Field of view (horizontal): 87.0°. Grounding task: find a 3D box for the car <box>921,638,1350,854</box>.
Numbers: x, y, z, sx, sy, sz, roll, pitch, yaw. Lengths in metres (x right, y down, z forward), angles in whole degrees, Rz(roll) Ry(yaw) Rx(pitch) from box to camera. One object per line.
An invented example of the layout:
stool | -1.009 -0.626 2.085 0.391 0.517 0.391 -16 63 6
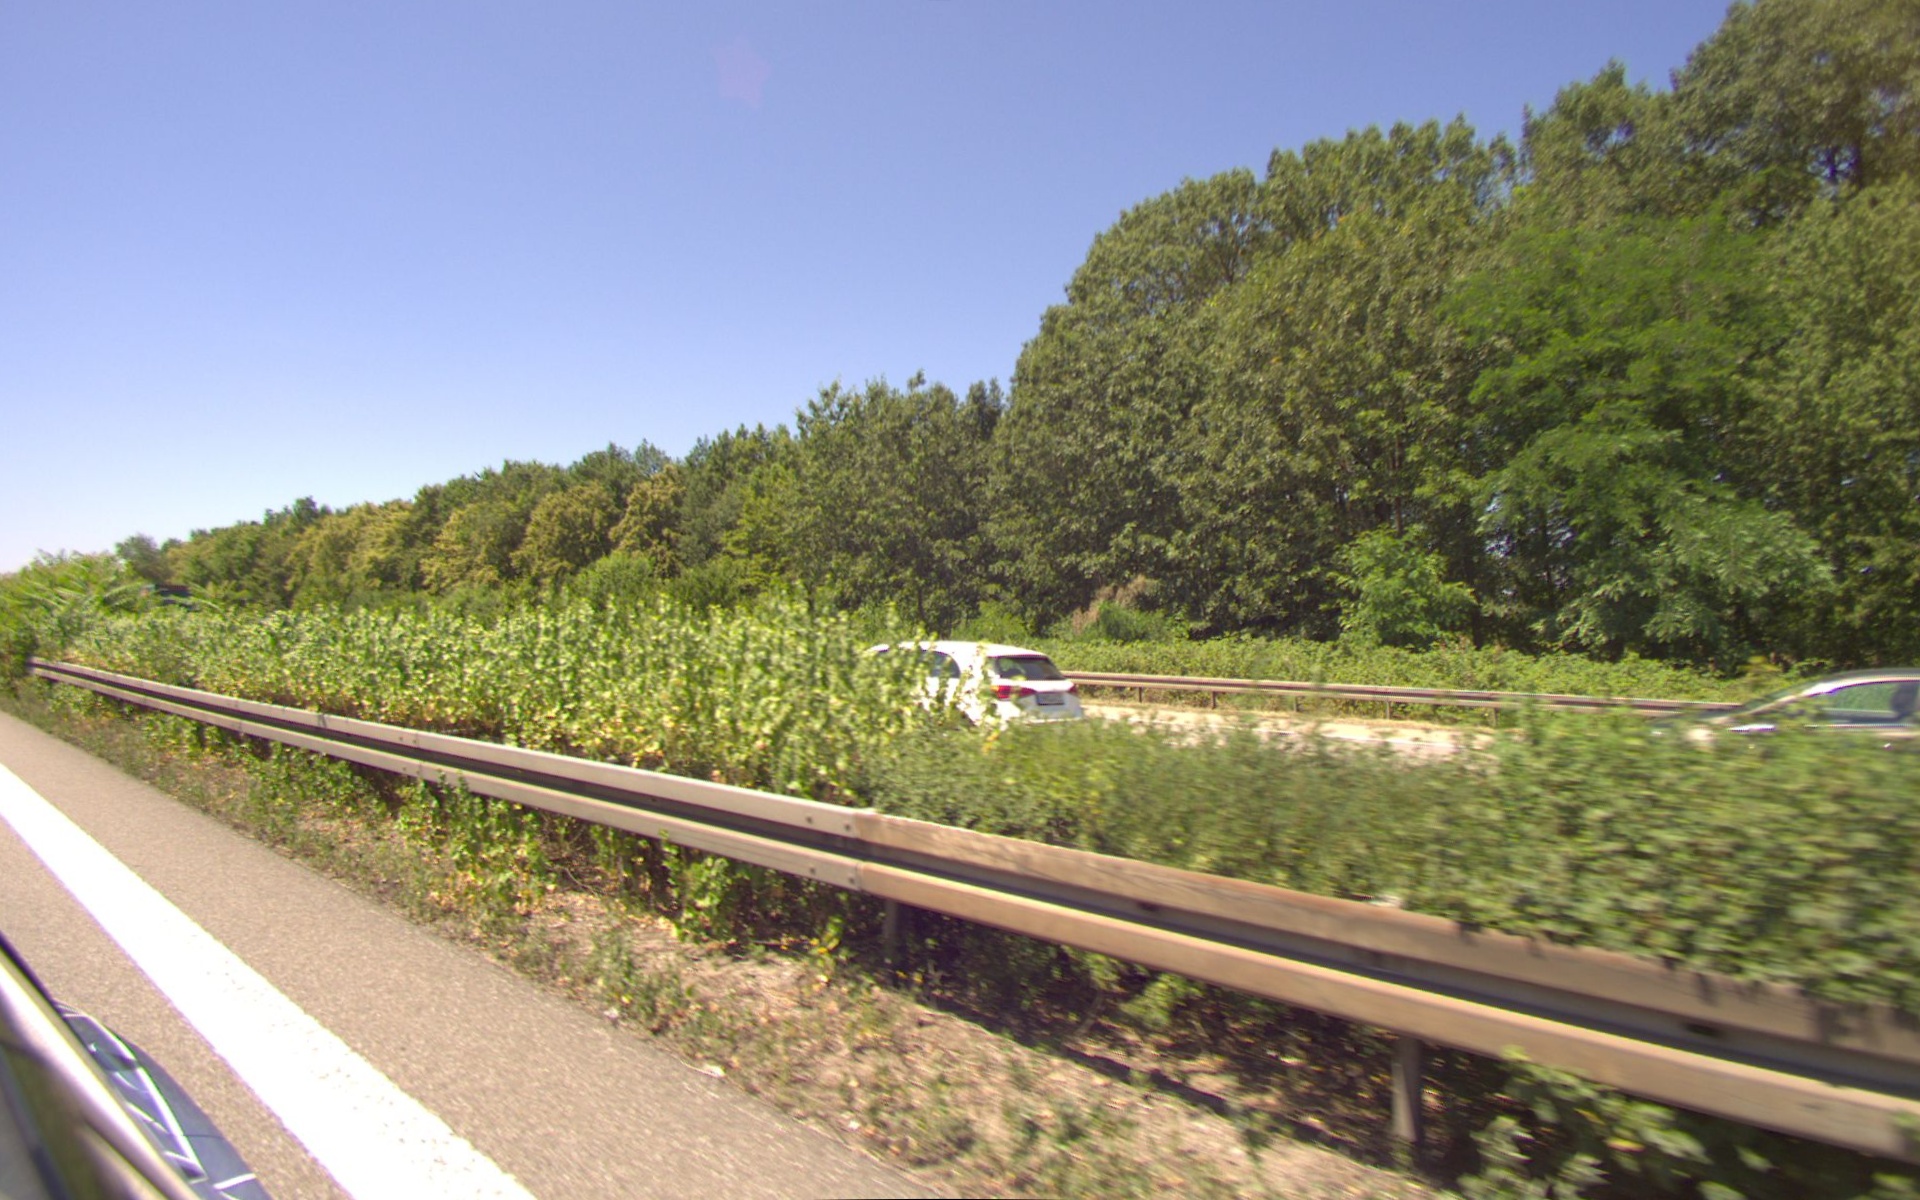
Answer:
car | 1.661 1.280 10.354 3.997 1.705 1.776 -1 -2 41

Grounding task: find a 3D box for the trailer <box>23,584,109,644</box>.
trailer | -64.770 1.040 73.174 13.510 4.040 2.840 -1 -2 41

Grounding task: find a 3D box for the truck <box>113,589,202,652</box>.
truck | -55.995 1.418 70.505 9.994 4.145 2.982 -1 -2 41

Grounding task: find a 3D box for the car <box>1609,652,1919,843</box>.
car | 8.417 1.263 8.950 4.304 1.466 1.776 -1 -2 41

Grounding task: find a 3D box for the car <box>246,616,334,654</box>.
car | -25.334 1.289 38.241 3.998 1.348 1.776 -1 -1 41
